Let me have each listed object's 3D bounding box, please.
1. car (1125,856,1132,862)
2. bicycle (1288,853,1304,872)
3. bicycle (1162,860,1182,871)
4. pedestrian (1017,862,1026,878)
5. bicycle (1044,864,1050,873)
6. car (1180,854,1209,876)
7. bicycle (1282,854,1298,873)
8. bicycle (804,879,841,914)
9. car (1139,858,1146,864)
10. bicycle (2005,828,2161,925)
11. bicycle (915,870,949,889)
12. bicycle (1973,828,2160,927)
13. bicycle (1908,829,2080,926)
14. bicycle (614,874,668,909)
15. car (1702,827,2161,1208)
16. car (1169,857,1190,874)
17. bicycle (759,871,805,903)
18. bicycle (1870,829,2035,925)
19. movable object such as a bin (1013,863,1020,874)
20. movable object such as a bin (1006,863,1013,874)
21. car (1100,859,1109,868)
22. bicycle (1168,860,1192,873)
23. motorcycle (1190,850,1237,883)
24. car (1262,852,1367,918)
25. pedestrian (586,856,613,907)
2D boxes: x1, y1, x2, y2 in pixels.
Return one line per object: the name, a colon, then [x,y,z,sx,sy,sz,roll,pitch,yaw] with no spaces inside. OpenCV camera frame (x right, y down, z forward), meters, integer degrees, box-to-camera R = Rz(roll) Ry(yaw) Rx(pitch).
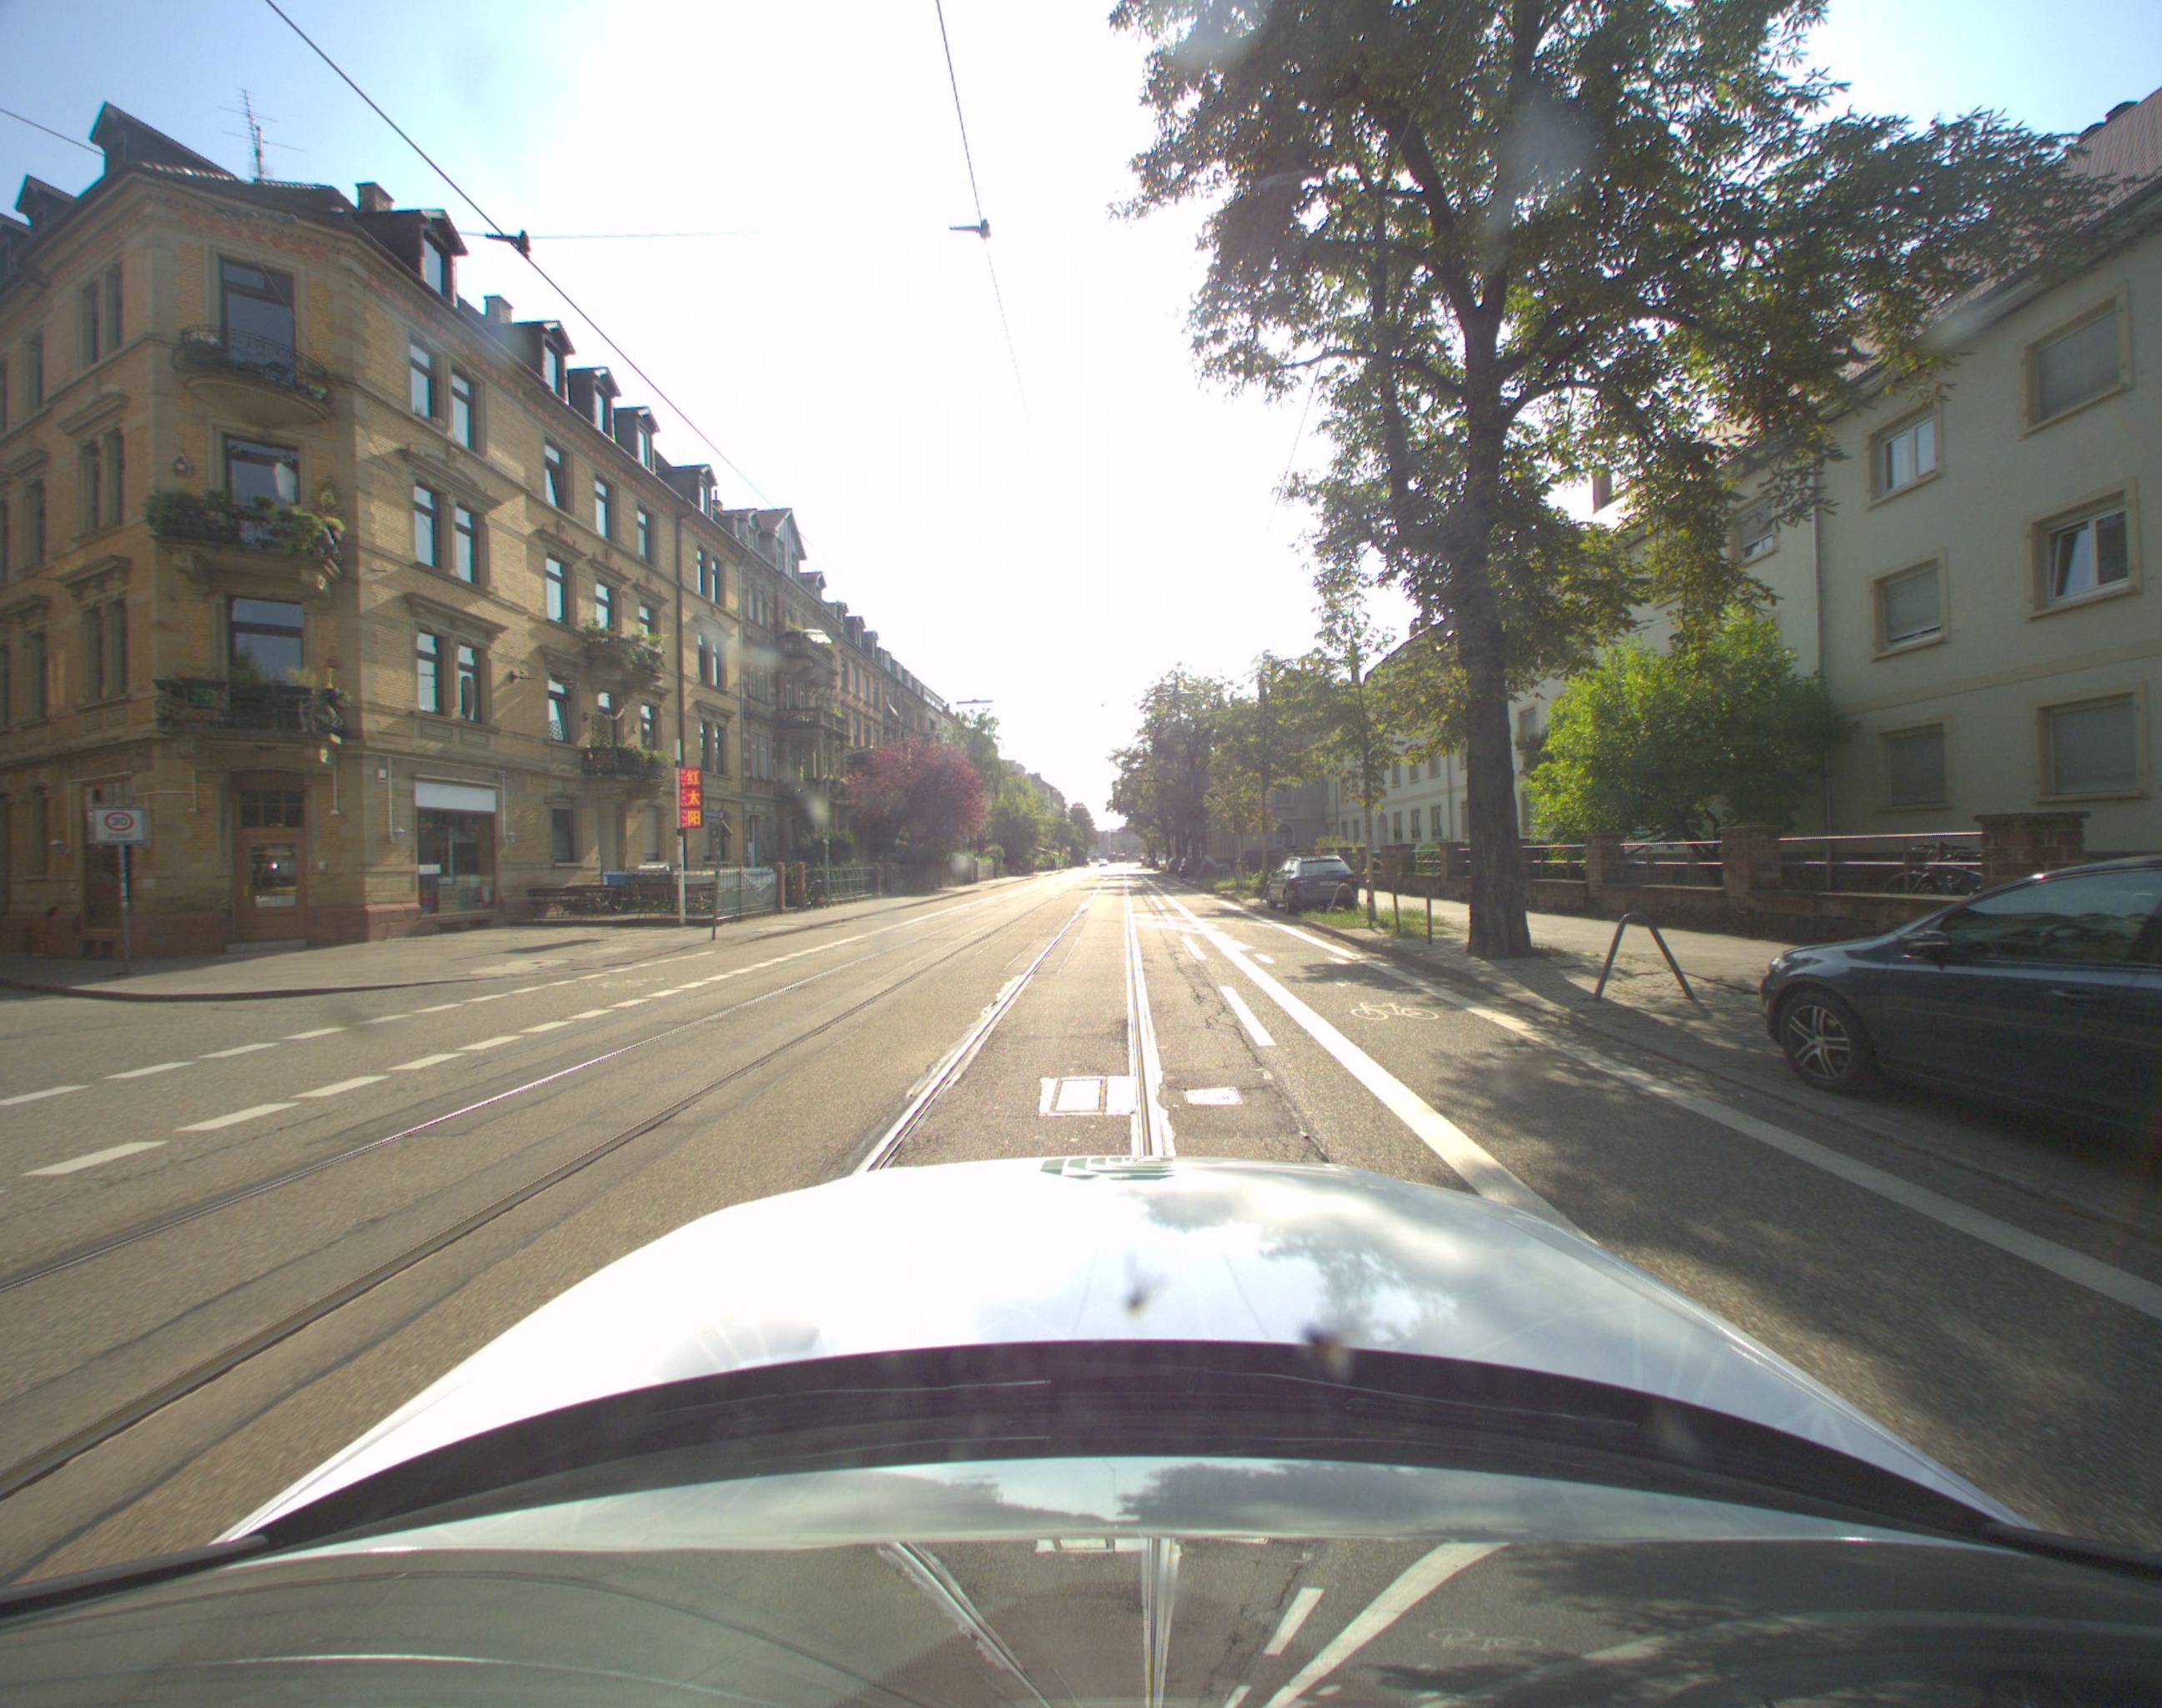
car: [14.814,1.496,254.104,1.983,2.014,4.007,0,0,6]
bicycle: [12.917,0.522,48.932,0.423,1.104,2.000,-2,0,1]
bicycle: [9.880,1.231,88.239,2.099,1.105,0.616,-3,-1,1]
pedestrian: [-5.900,1.565,81.314,0.749,1.591,0.879,-2,-1,4]
bicycle: [-4.531,1.983,109.489,0.558,1.221,2.116,-2,0,5]
car: [8.428,0.810,60.759,1.719,1.504,3.987,-3,-1,3]
bicycle: [12.563,0.542,48.969,0.421,1.104,2.000,-2,0,1]
bicycle: [-8.947,1.466,28.297,0.506,1.108,2.005,-2,0,3]
car: [19.711,2.239,260.064,1.983,1.783,4.008,0,0,7]
bicycle: [11.945,0.243,9.615,0.414,1.060,1.489,-2,0,3]
bicycle: [-9.228,1.594,50.517,2.009,1.104,0.588,-2,-1,0]
bicycle: [11.482,0.262,9.562,0.414,1.060,1.489,-2,0,3]
bicycle: [10.847,0.264,9.751,0.414,1.060,1.489,-2,0,3]
bicycle: [-14.184,1.215,26.242,1.478,1.060,0.417,-2,-1,0]
car: [5.220,0.645,3.725,1.683,1.502,4.098,-4,-1,3]
car: [9.382,1.095,77.767,1.764,1.473,3.977,-2,-1,3]
bicycle: [-10.019,1.102,27.314,1.353,1.060,0.417,0,-1,0]
bicycle: [10.396,0.258,9.786,0.414,1.060,1.489,-2,0,3]
movable object such as a bin: [-6.588,1.487,82.873,0.629,1.078,0.704,-2,-1,-3]
movable object such as a bin: [-7.259,1.486,82.829,0.588,1.078,0.704,-2,-1,-3]
car: [4.872,1.943,168.531,1.719,1.638,3.987,-2,0,3]
bicycle: [8.981,1.112,74.099,2.103,1.105,0.562,-2,-1,-5]
motorcycle: [7.305,0.688,44.951,0.919,1.674,2.390,-3,0,-43]
car: [6.273,0.789,22.420,1.736,1.561,4.723,-2,-1,4]
pedestrian: [-16.081,0.907,27.196,0.549,1.667,0.579,-2,-1,-8]
